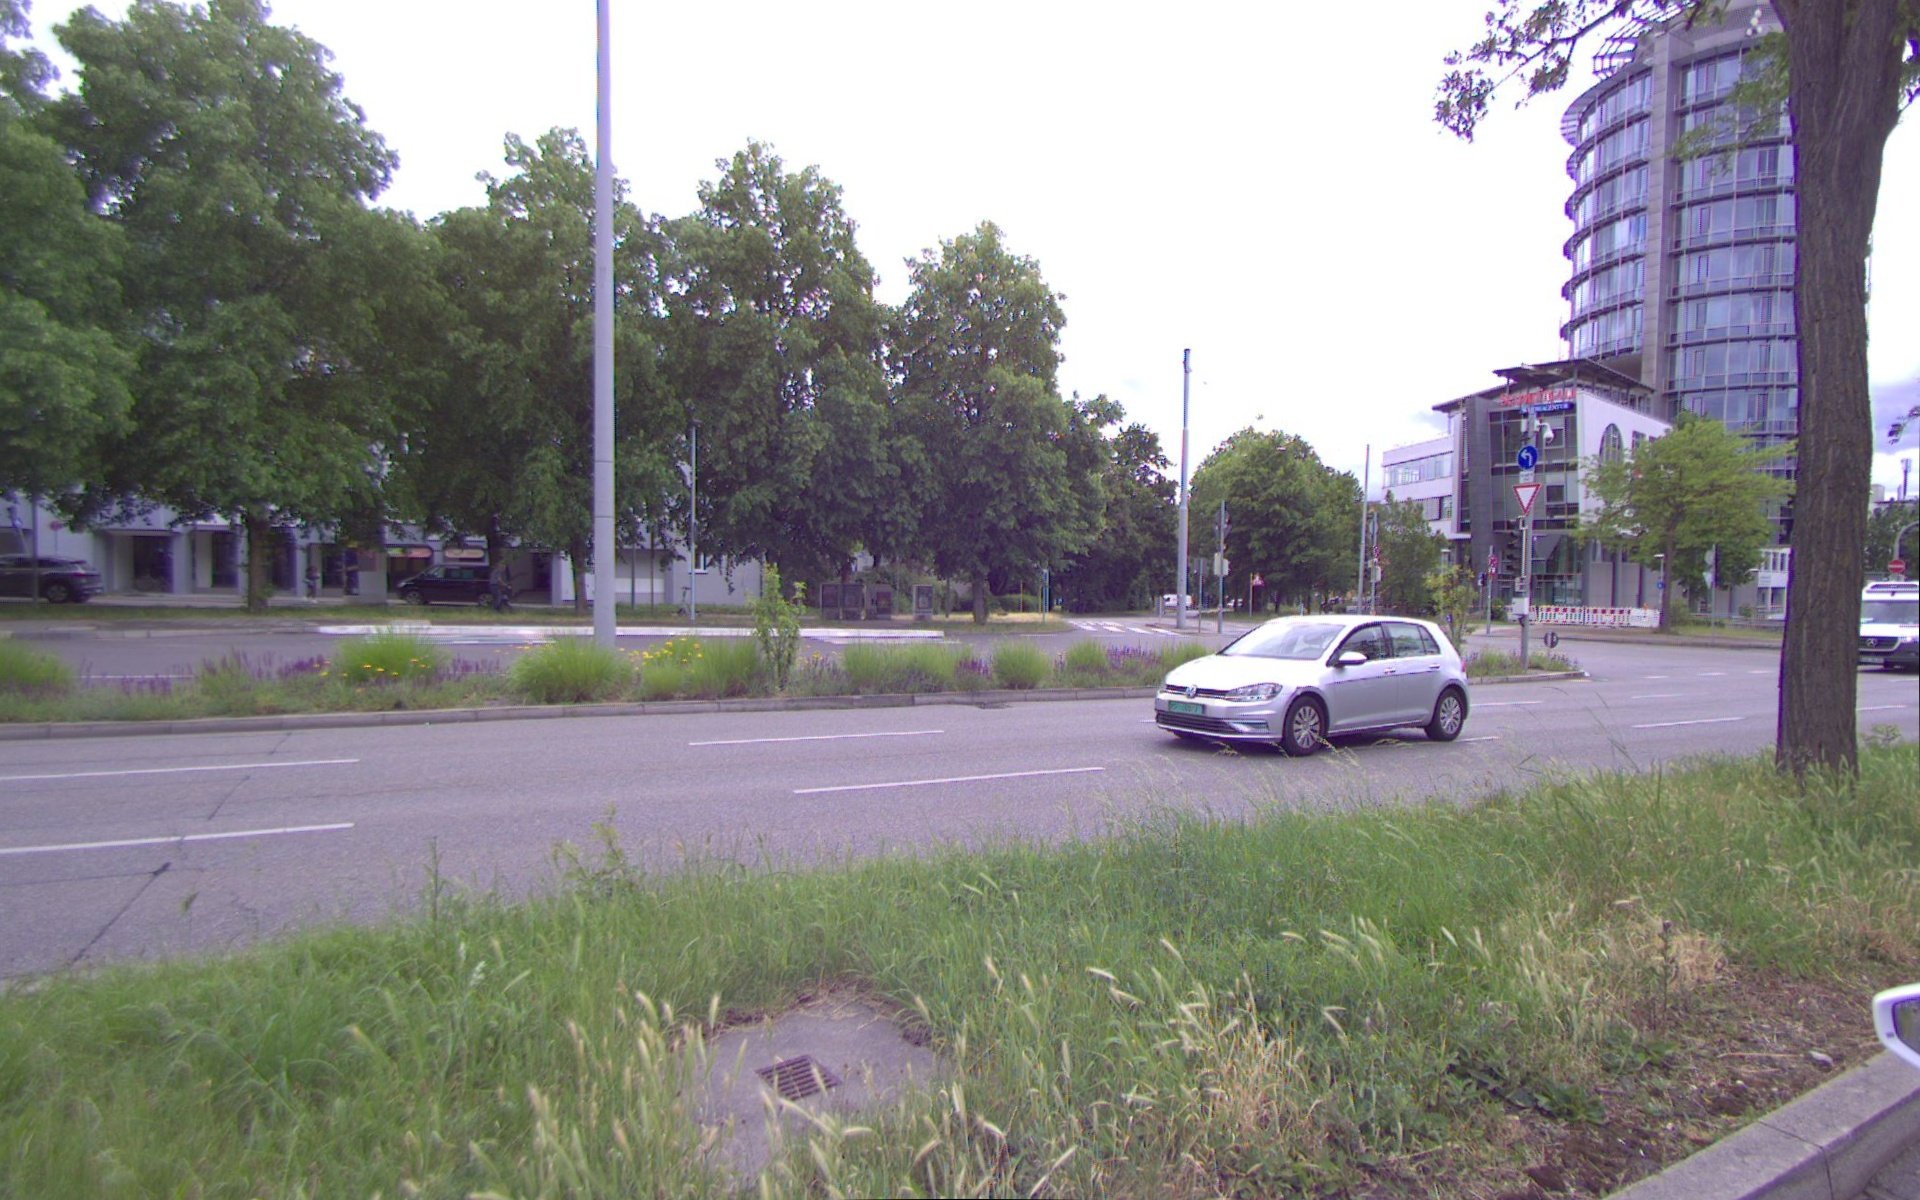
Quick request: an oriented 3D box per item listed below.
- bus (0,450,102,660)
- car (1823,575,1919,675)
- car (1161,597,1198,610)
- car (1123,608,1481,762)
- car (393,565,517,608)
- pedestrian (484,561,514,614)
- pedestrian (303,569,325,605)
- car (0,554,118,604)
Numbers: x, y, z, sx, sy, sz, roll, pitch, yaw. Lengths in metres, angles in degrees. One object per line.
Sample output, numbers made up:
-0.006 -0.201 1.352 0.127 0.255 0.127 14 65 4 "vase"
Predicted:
-20.602 -0.903 16.188 9.778 3.502 3.021 1 2 -26 "bus"
28.087 0.705 29.897 5.812 2.669 1.981 1 2 -33 "car"
38.175 0.599 174.610 5.881 2.040 1.995 1 1 -13 "car"
3.982 0.846 11.490 4.090 1.464 1.743 1 0 -33 "car"
-23.261 -0.602 46.457 4.736 1.857 1.994 1 1 -15 "car"
-15.300 -0.413 33.324 0.847 1.711 0.453 1 1 -30 "pedestrian"
-28.644 -0.584 44.532 0.658 1.568 0.656 1 1 -21 "pedestrian"
-31.445 -0.710 33.915 4.190 1.602 1.987 1 1 -26 "car"
